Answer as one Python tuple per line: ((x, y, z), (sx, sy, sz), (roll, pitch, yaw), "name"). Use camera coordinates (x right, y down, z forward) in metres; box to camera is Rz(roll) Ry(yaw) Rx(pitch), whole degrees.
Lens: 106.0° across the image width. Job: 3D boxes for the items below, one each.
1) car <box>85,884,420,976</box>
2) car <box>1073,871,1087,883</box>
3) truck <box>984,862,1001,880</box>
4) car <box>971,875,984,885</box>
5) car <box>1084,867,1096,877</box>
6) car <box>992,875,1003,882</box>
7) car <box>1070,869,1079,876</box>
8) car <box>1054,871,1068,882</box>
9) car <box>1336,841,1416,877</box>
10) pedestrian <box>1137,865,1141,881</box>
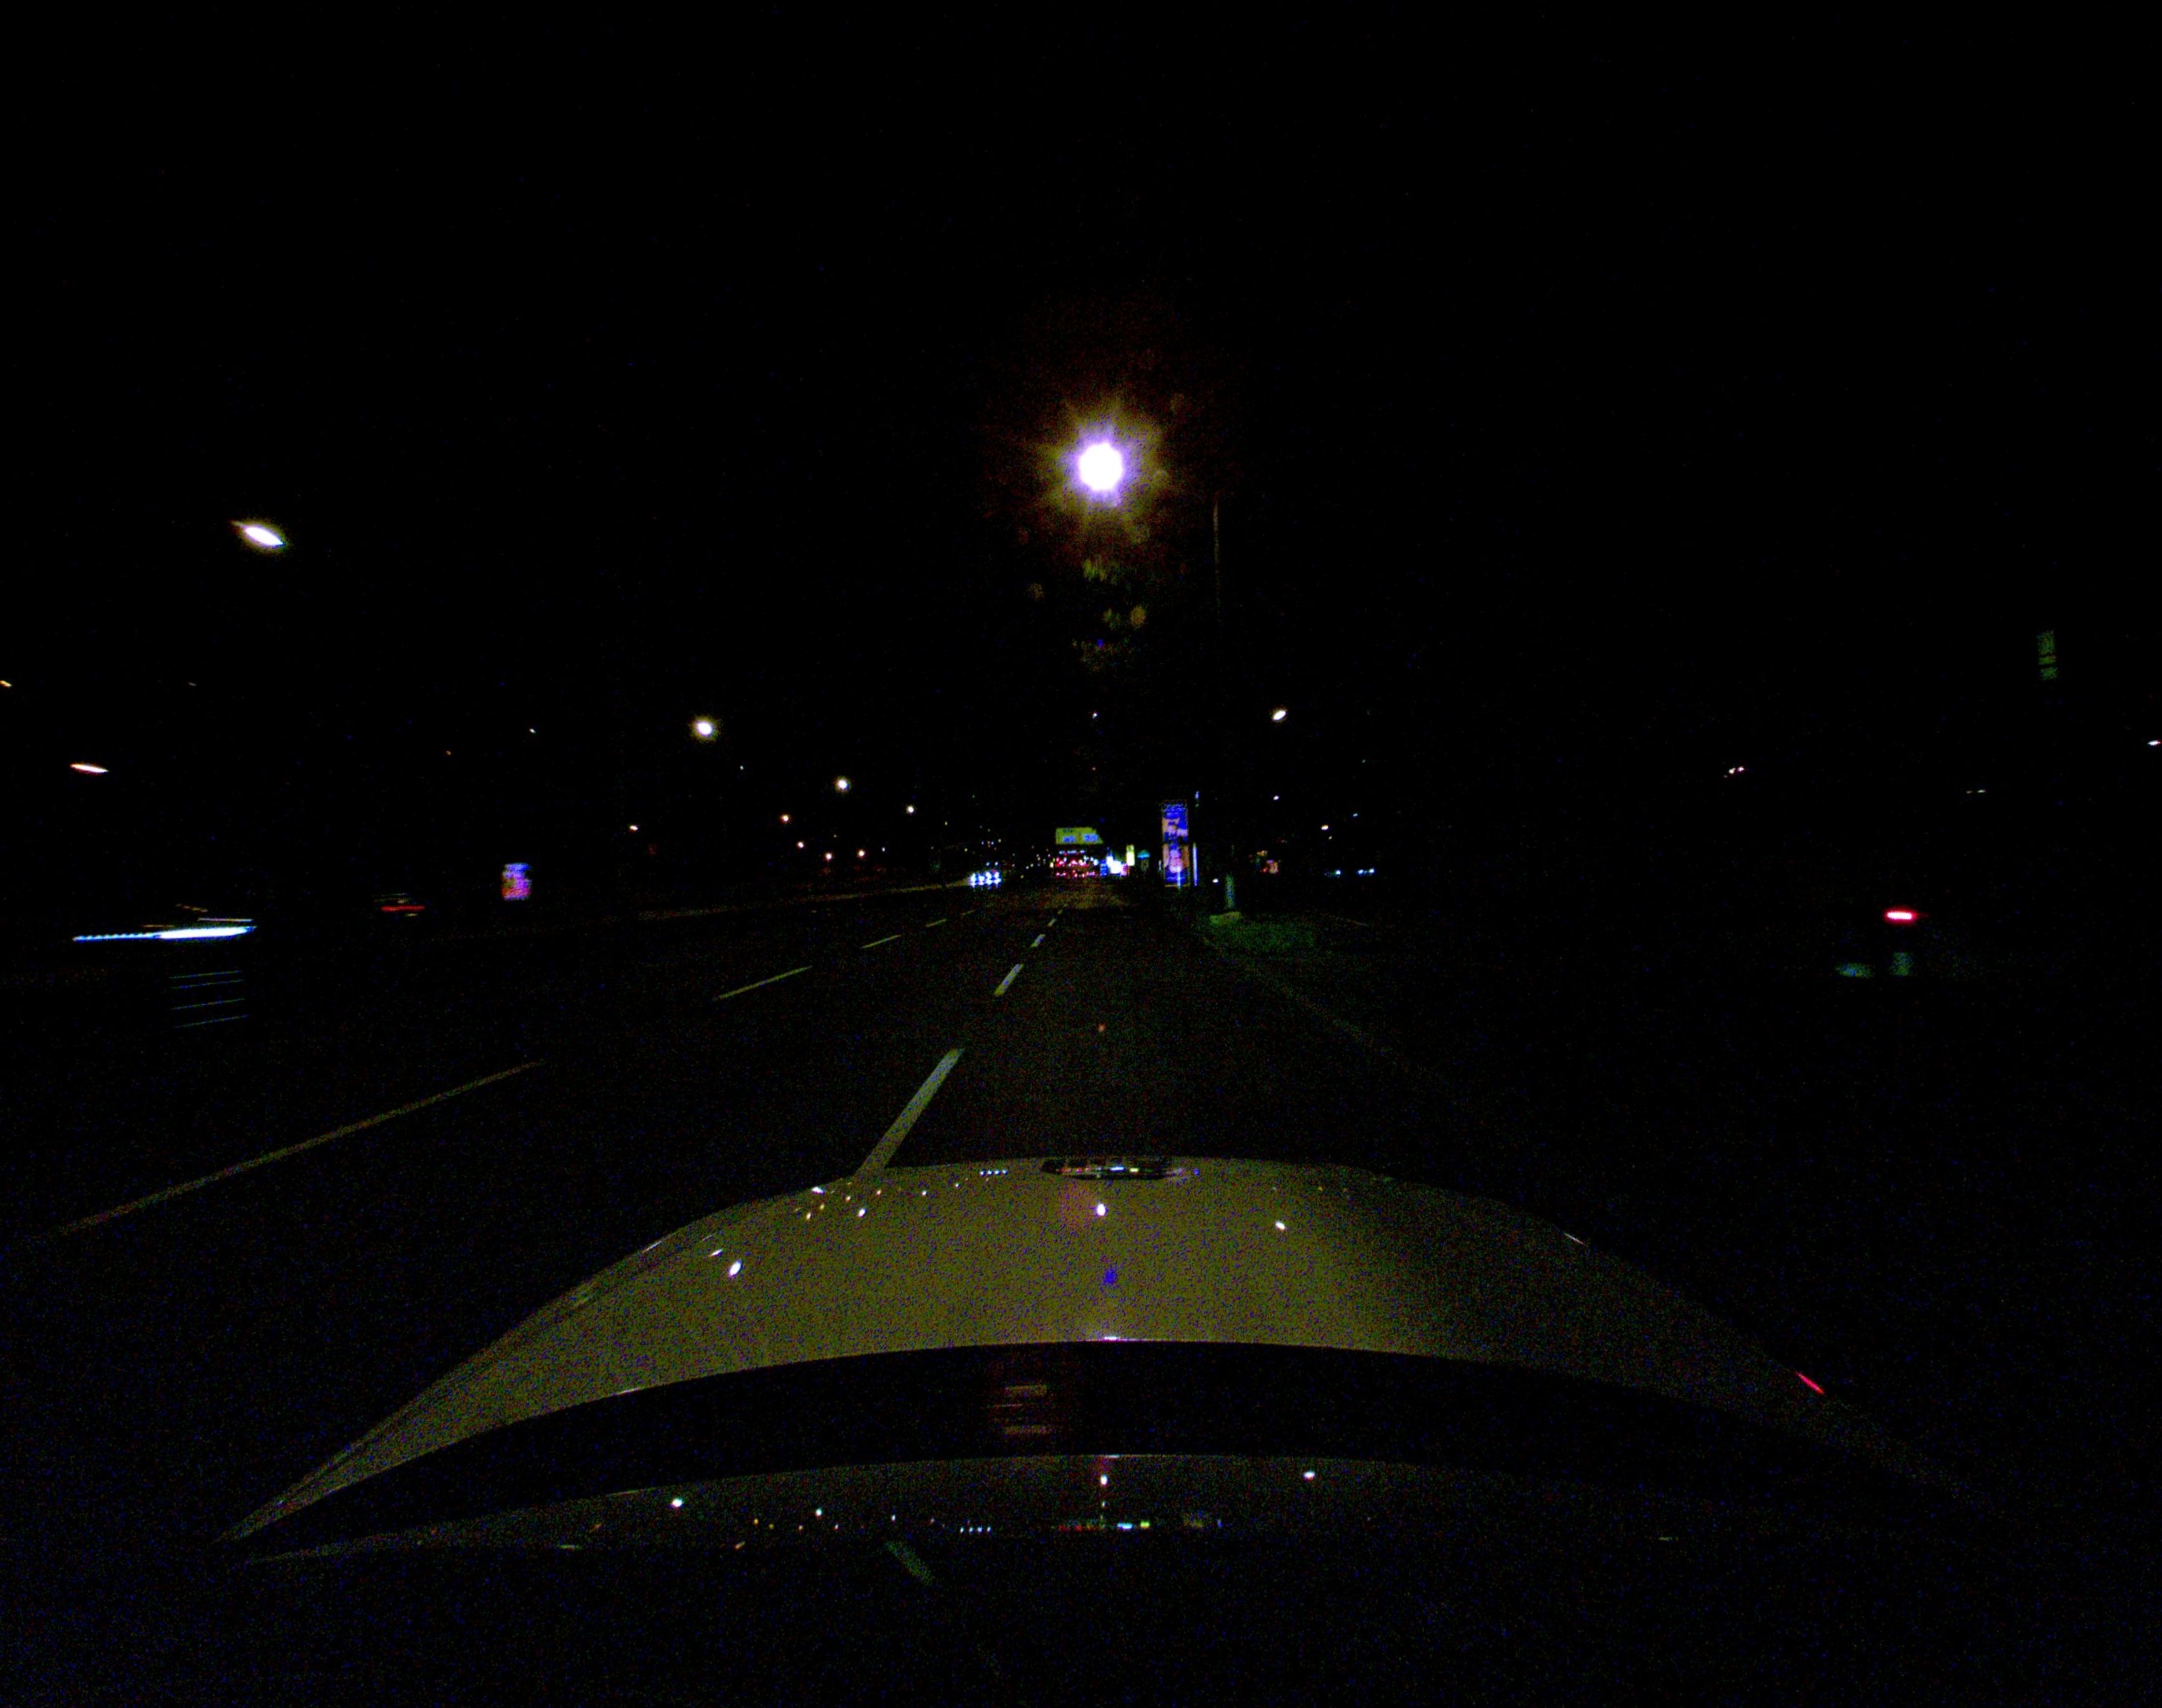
((-16.424, 1.410, 16.654), (1.861, 1.429, 4.952), (-1, -1, -2), "car")
((-0.149, 4.296, 150.451), (2.346, 2.129, 4.830), (-1, -1, 4), "car")
((-20.149, 3.863, 185.468), (3.030, 3.819, 4.935), (-1, -1, 1), "truck")
((-18.989, 4.723, 149.384), (1.857, 1.750, 3.700), (-1, -1, 0), "car")
((2.021, 3.990, 179.016), (2.417, 2.113, 4.830), (-1, -1, 4), "car")
((-17.635, 5.180, 171.968), (1.905, 1.474, 3.771), (-1, -1, 0), "car")
((-1.570, 4.221, 190.297), (1.987, 1.553, 4.000), (-1, -1, 1), "car")
((-3.889, 4.334, 156.886), (2.253, 2.014, 4.830), (-1, -1, 4), "car")
((16.110, 0.260, 44.543), (3.780, 1.862, 1.985), (-1, -1, -23), "car")
((9.398, 3.074, 132.044), (0.741, 2.435, 0.780), (0, -1, 3), "pedestrian")
